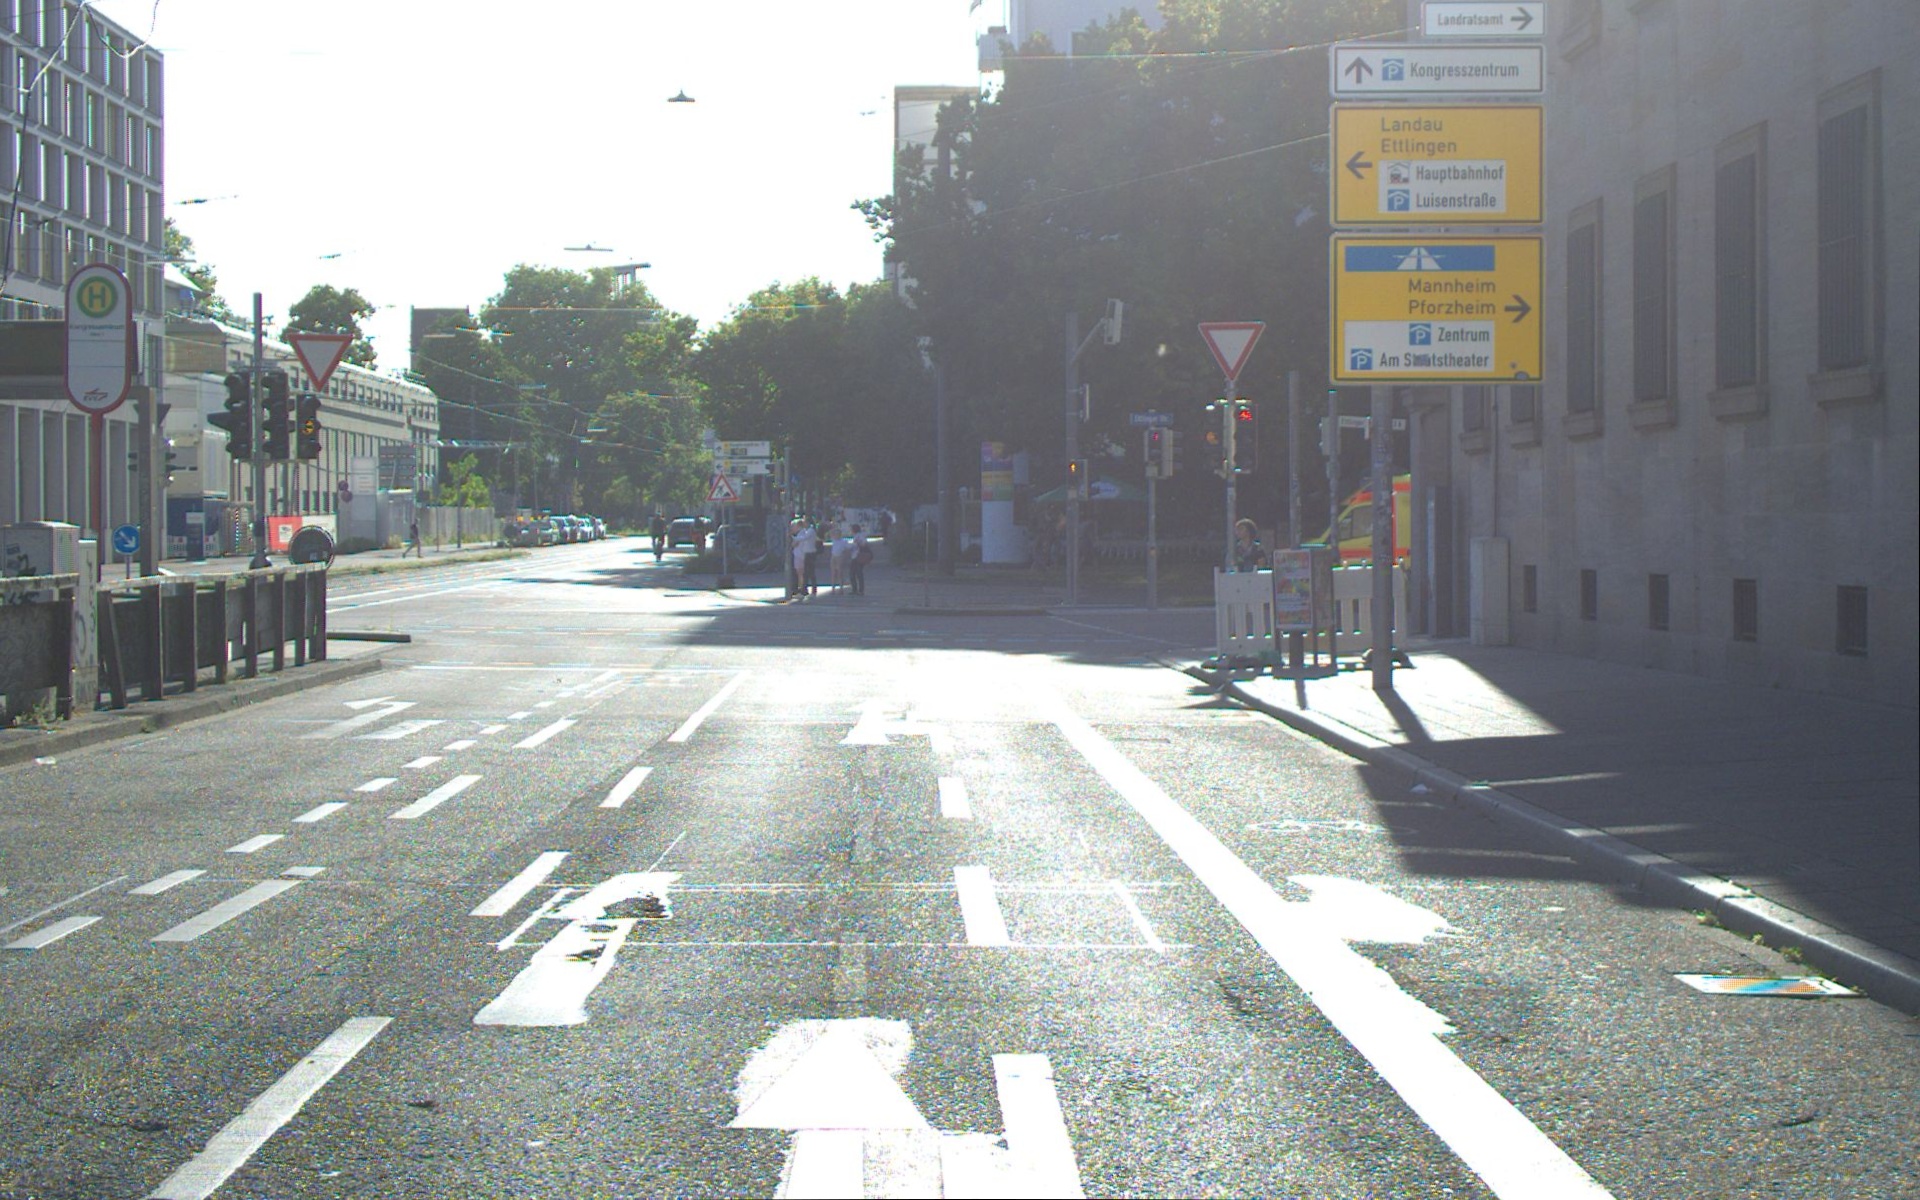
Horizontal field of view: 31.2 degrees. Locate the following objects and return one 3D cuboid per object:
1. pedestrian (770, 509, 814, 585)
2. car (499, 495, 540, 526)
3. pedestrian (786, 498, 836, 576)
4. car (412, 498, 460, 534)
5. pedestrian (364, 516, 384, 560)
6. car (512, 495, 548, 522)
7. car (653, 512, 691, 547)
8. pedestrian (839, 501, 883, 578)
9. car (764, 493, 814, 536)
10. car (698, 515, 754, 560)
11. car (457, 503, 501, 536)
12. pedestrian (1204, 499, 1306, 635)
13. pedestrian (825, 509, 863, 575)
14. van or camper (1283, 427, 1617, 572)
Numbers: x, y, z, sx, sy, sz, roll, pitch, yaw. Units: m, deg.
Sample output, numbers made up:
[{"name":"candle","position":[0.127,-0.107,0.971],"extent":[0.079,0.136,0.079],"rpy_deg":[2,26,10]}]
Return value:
[{"name":"pedestrian","position":[-3.946,-1.253,80.935],"extent":[0.847,1.778,0.780],"rpy_deg":[-1,2,-17]},{"name":"car","position":[-24.364,-4.965,190.405],"extent":[1.819,1.706,3.806],"rpy_deg":[-1,2,-1]},{"name":"pedestrian","position":[-3.449,-1.469,79.401],"extent":[0.965,1.778,0.780],"rpy_deg":[-1,2,-17]},{"name":"car","position":[-25.527,-4.090,167.534],"extent":[1.819,1.706,3.806],"rpy_deg":[-1,2,-1]},{"name":"pedestrian","position":[-17.723,-1.888,103.996],"extent":[0.511,1.324,0.369],"rpy_deg":[0,1,1]},{"name":"car","position":[-24.252,-5.177,194.008],"extent":[1.609,1.493,3.806],"rpy_deg":[-1,2,-1]},{"name":"car","position":[-14.645,-3.571,174.961],"extent":[1.684,1.731,3.509],"rpy_deg":[1,1,-1]},{"name":"pedestrian","position":[-2.324,-1.429,80.508],"extent":[0.847,1.778,0.780],"rpy_deg":[-1,2,-17]},{"name":"car","position":[-6.275,-3.130,126.240],"extent":[1.684,1.495,3.509],"rpy_deg":[1,1,-1]},{"name":"car","position":[-7.963,-2.126,117.160],"extent":[1.684,1.495,3.509],"rpy_deg":[1,1,-1]},{"name":"car","position":[-24.975,-4.193,178.610],"extent":[1.819,1.706,3.806],"rpy_deg":[-1,2,-1]},{"name":"pedestrian","position":[3.790,-0.431,44.236],"extent":[1.039,1.715,1.035],"rpy_deg":[-1,2,-12]},{"name":"pedestrian","position":[-2.746,-1.369,81.266],"extent":[0.762,1.553,0.588],"rpy_deg":[-1,2,-17]},{"name":"van or camper","position":[10.270,-2.112,72.594],"extent":[6.709,2.851,2.910],"rpy_deg":[1,1,4]}]
